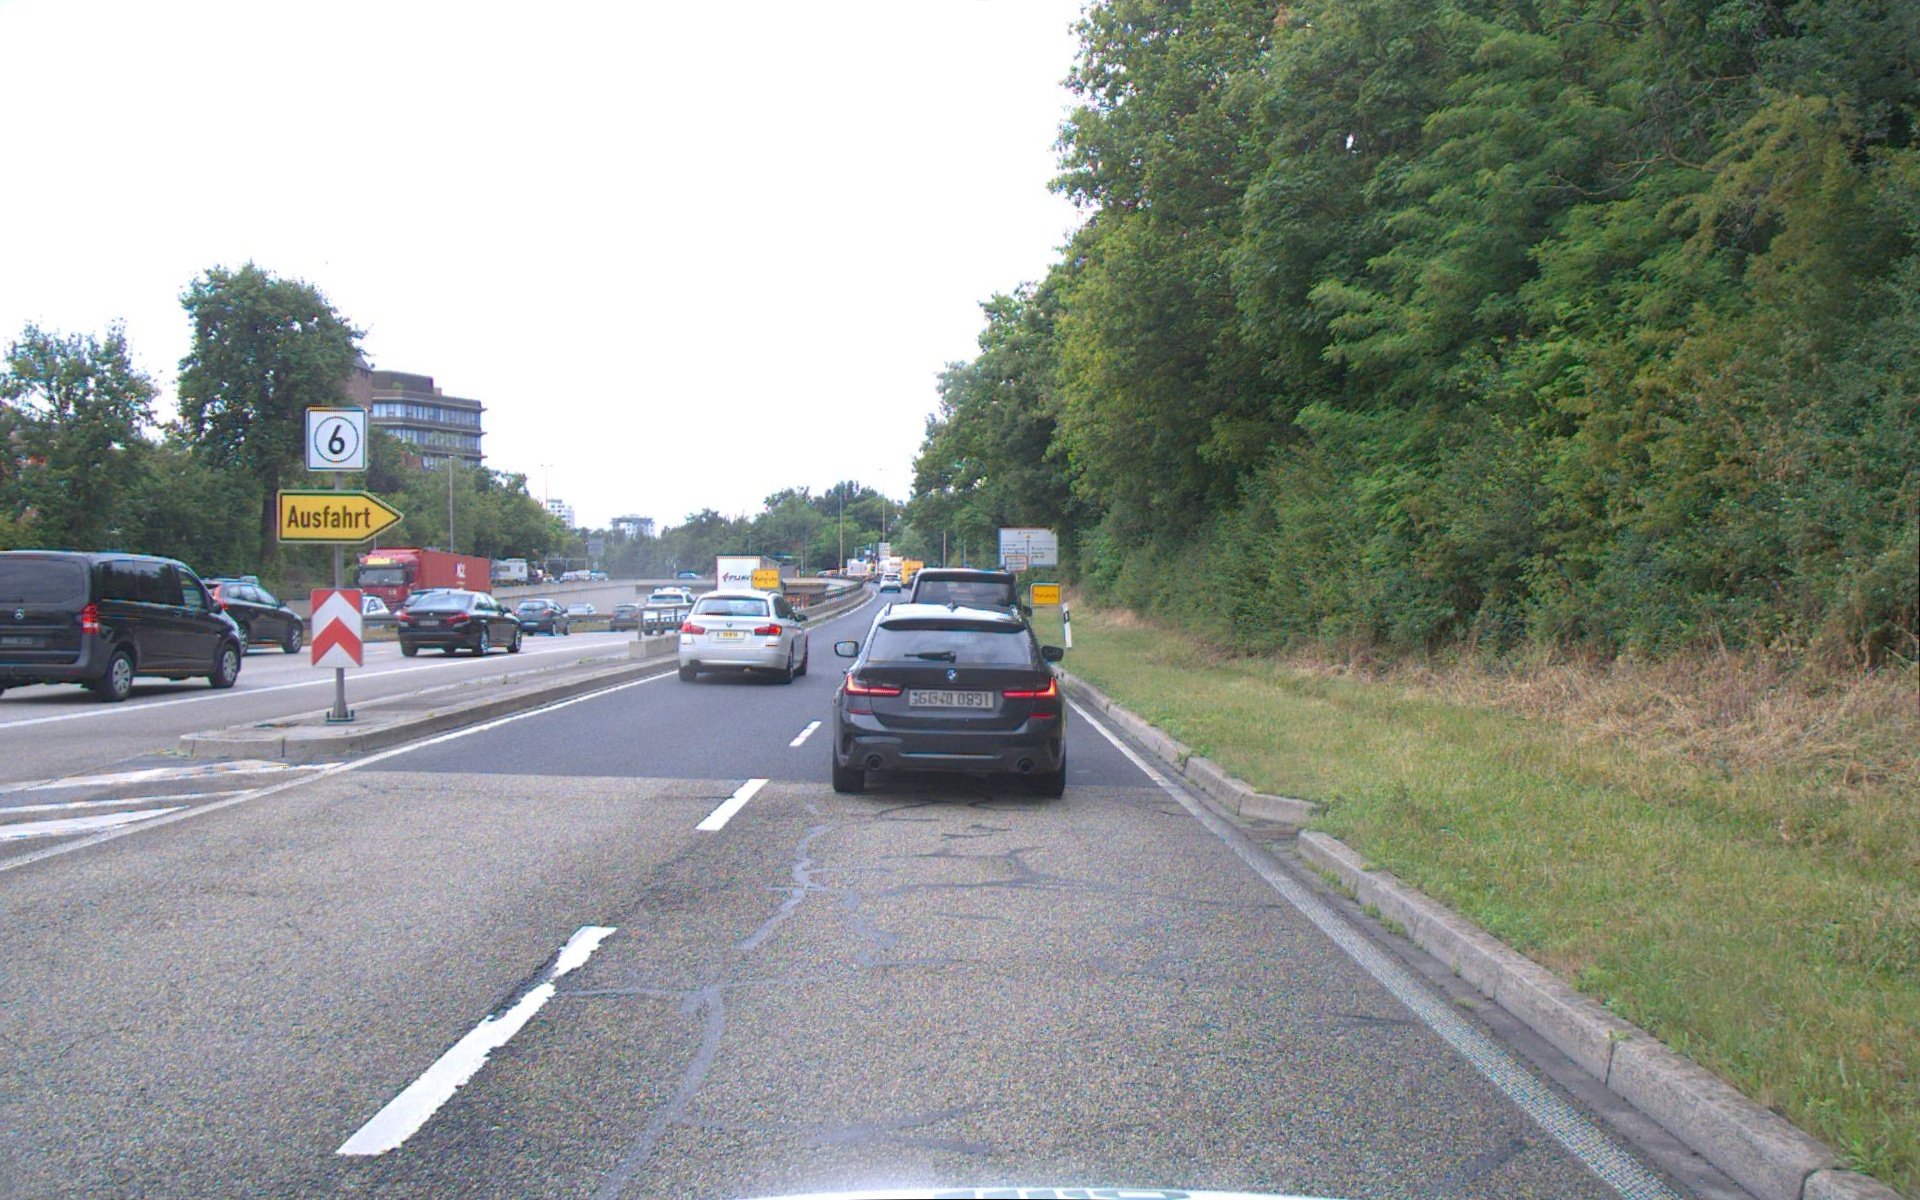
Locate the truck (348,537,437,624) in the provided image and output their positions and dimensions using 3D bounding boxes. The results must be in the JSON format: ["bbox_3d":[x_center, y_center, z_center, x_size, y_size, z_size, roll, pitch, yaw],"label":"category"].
[{"bbox_3d":[-28.013,-0.940,81.807,2.706,4.136,4.906,0,0,-1],"label":"truck"}]

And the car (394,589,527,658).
[{"bbox_3d":[-11.581,0.502,38.652,1.677,1.482,4.666,1,0,0],"label":"car"}]

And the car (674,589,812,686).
[{"bbox_3d":[-3.616,0.583,28.340,1.821,1.489,4.883,1,0,-2],"label":"car"}]

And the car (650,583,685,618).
[{"bbox_3d":[-17.558,0.001,99.493,1.414,2.080,3.680,0,0,0],"label":"car"}]

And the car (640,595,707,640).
[{"bbox_3d":[-11.523,0.669,66.736,1.906,1.721,4.506,0,0,0],"label":"car"}]

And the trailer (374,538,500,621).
[{"bbox_3d":[-28.065,-1.043,89.560,2.708,4.135,13.351,0,0,-1],"label":"trailer"}]

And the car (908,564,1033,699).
[{"bbox_3d":[0.134,0.442,25.501,1.759,1.904,4.000,1,0,0],"label":"car"}]

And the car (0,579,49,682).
[{"bbox_3d":[-15.799,0.472,25.104,1.730,1.595,3.945,0,0,1],"label":"car"}]

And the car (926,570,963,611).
[{"bbox_3d":[-0.612,-0.383,65.040,1.423,1.567,3.224,0,0,-1],"label":"car"}]

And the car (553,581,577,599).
[{"bbox_3d":[-40.978,-1.044,171.519,1.622,1.868,3.622,0,0,-1],"label":"car"}]

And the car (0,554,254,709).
[{"bbox_3d":[-11.638,0.374,22.676,1.953,1.883,4.810,1,0,-2],"label":"car"}]

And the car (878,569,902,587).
[{"bbox_3d":[-6.325,-1.995,149.810,1.891,1.624,3.877,0,0,1],"label":"car"}]

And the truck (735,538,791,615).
[{"bbox_3d":[-12.535,-1.472,105.513,3.021,4.780,4.231,1,0,-1],"label":"truck"}]

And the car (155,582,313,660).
[{"bbox_3d":[-16.495,0.439,37.817,1.716,1.664,4.266,1,0,0],"label":"car"}]

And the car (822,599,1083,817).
[{"bbox_3d":[-0.121,0.761,13.622,1.809,1.492,3.998,1,0,-2],"label":"car"}]

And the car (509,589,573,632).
[{"bbox_3d":[-17.043,0.402,67.427,1.653,1.636,4.007,2,0,-2],"label":"car"}]

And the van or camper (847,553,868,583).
[{"bbox_3d":[-9.990,-3.108,161.596,1.954,2.870,3.997,0,0,-3],"label":"van or camper"}]

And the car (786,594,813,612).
[{"bbox_3d":[-19.407,0.354,199.648,3.143,2.063,5.067,0,0,-8],"label":"car"}]

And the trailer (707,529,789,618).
[{"bbox_3d":[-12.443,-1.465,98.376,3.069,4.807,14.555,1,0,-1],"label":"trailer"}]

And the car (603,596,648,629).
[{"bbox_3d":[-17.514,0.632,86.821,1.653,1.660,3.733,2,0,-2],"label":"car"}]

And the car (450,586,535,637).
[{"bbox_3d":[-16.253,0.374,57.734,1.852,1.711,4.305,0,0,-2],"label":"car"}]
